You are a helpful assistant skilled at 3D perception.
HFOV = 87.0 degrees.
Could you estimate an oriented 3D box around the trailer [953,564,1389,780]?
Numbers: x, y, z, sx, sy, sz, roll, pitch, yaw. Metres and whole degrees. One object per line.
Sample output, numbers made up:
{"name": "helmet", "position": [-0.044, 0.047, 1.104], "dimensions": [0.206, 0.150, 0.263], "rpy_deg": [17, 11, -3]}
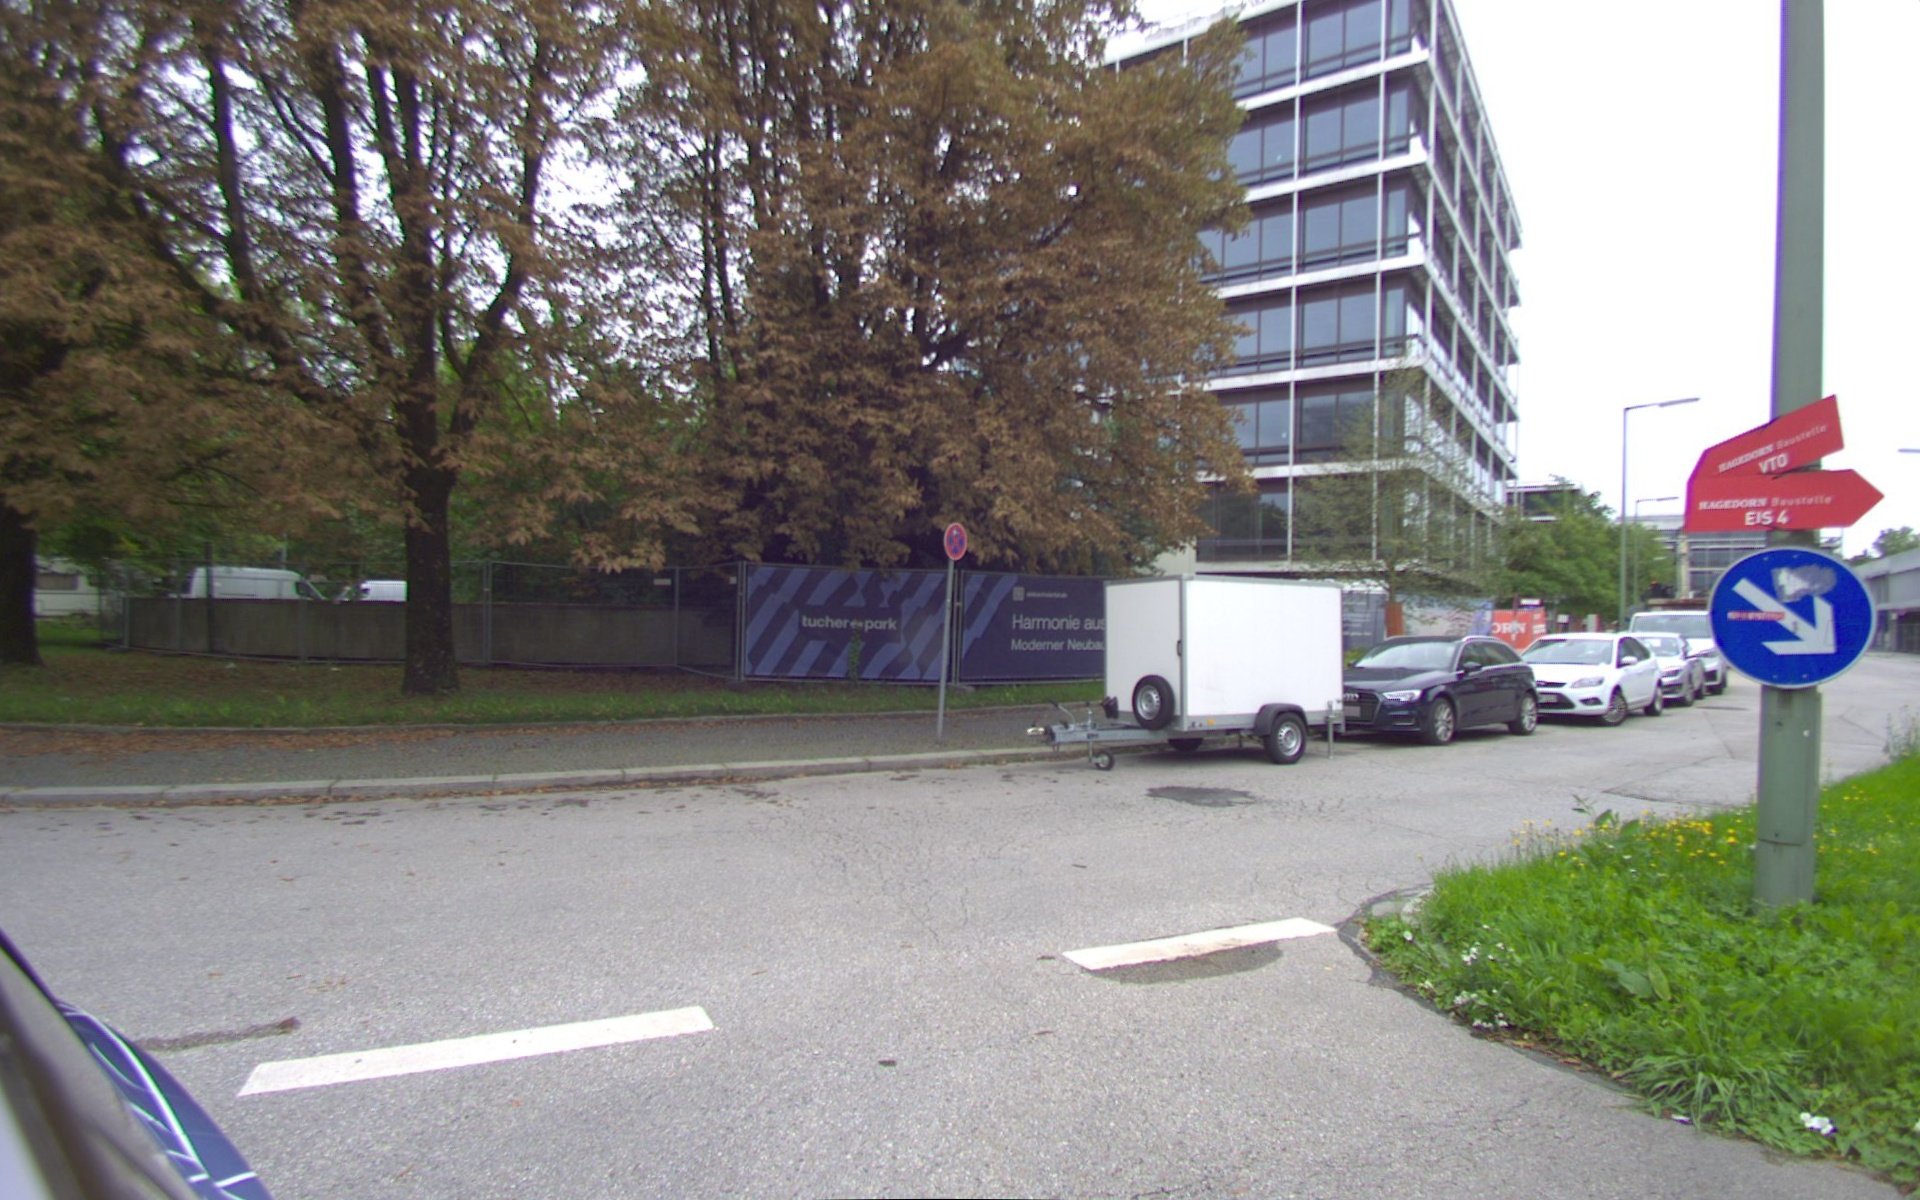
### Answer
{"name": "trailer", "position": [2.447, 0.702, 11.411], "dimensions": [4.750, 2.029, 1.820], "rpy_deg": [1, -1, -28]}

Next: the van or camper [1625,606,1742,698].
{"name": "van or camper", "position": [18.066, 1.183, 25.168], "dimensions": [1.998, 2.029, 5.305], "rpy_deg": [0, -1, 40]}

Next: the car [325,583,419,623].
{"name": "car", "position": [-39.589, 0.251, 68.269], "dimensions": [2.071, 2.600, 5.078], "rpy_deg": [0, -1, 33]}

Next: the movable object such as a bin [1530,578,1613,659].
{"name": "movable object such as a bin", "position": [31.198, 0.890, 51.420], "dimensions": [3.243, 3.745, 8.904], "rpy_deg": [0, -1, 34]}

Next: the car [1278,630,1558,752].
{"name": "car", "position": [6.530, 1.163, 14.254], "dimensions": [4.259, 1.448, 1.881], "rpy_deg": [2, -2, -39]}

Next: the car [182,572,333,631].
{"name": "car", "position": [-32.720, 0.109, 47.342], "dimensions": [2.070, 2.600, 5.397], "rpy_deg": [0, -1, 33]}

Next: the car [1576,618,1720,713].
{"name": "car", "position": [14.475, 1.254, 21.184], "dimensions": [1.999, 1.741, 4.388], "rpy_deg": [0, -1, 41]}

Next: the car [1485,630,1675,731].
{"name": "car", "position": [10.822, 1.288, 17.553], "dimensions": [4.157, 1.497, 1.774], "rpy_deg": [1, -1, -43]}

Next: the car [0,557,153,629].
{"name": "car", "position": [-36.484, -0.234, 41.000], "dimensions": [2.070, 2.755, 5.534], "rpy_deg": [0, -1, 33]}
